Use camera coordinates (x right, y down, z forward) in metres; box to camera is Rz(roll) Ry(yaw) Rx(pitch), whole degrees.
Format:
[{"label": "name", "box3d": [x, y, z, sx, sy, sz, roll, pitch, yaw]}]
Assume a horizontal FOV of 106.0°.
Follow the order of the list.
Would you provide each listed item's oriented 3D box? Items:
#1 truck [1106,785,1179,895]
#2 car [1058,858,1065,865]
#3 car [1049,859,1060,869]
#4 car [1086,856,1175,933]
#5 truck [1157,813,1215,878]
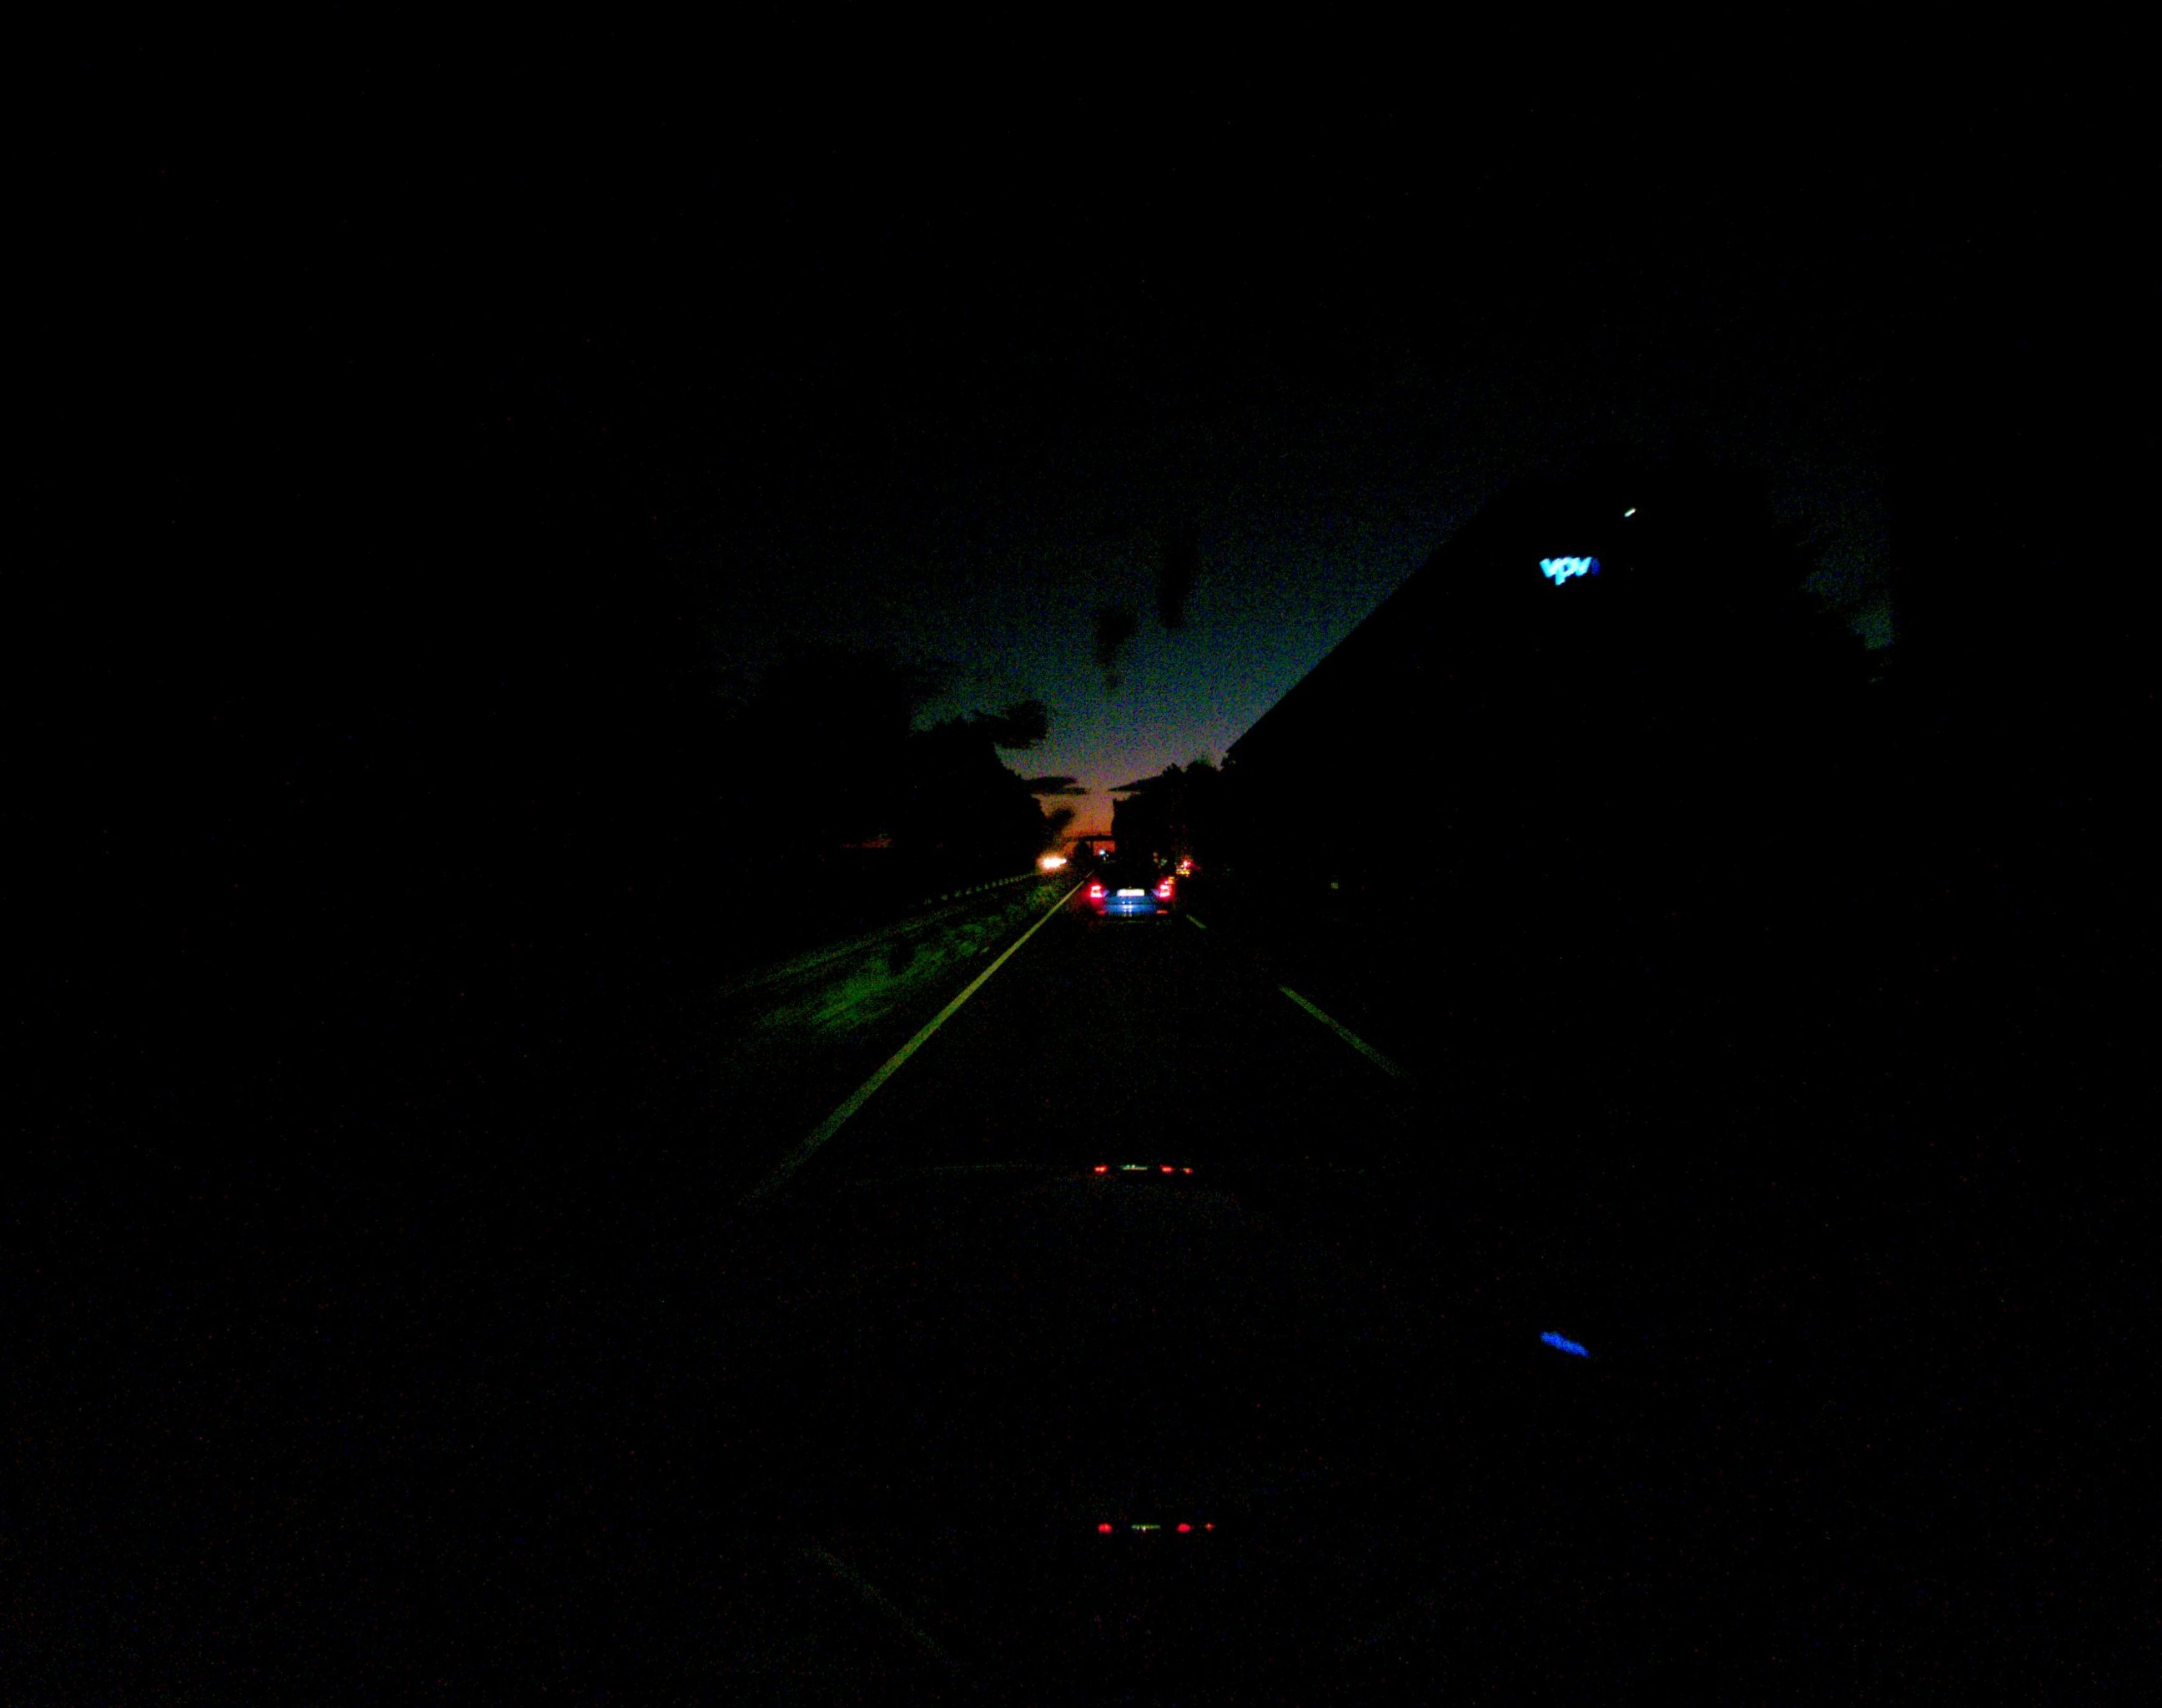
[{"label": "truck", "box3d": [2.511, -0.474, 37.037, 2.677, 4.106, 13.145, -1, -1, 2]}, {"label": "car", "box3d": [-4.794, 1.805, 198.438, 1.611, 1.507, 3.870, -1, -1, 2]}, {"label": "car", "box3d": [-4.477, 1.655, 137.130, 1.676, 1.587, 4.168, -1, 0, 2]}, {"label": "car", "box3d": [1.017, 0.789, 17.566, 1.689, 1.452, 3.915, -1, -1, 2]}, {"label": "truck", "box3d": [7.243, -0.486, 57.899, 2.872, 4.106, 12.687, -1, -1, 2]}]
